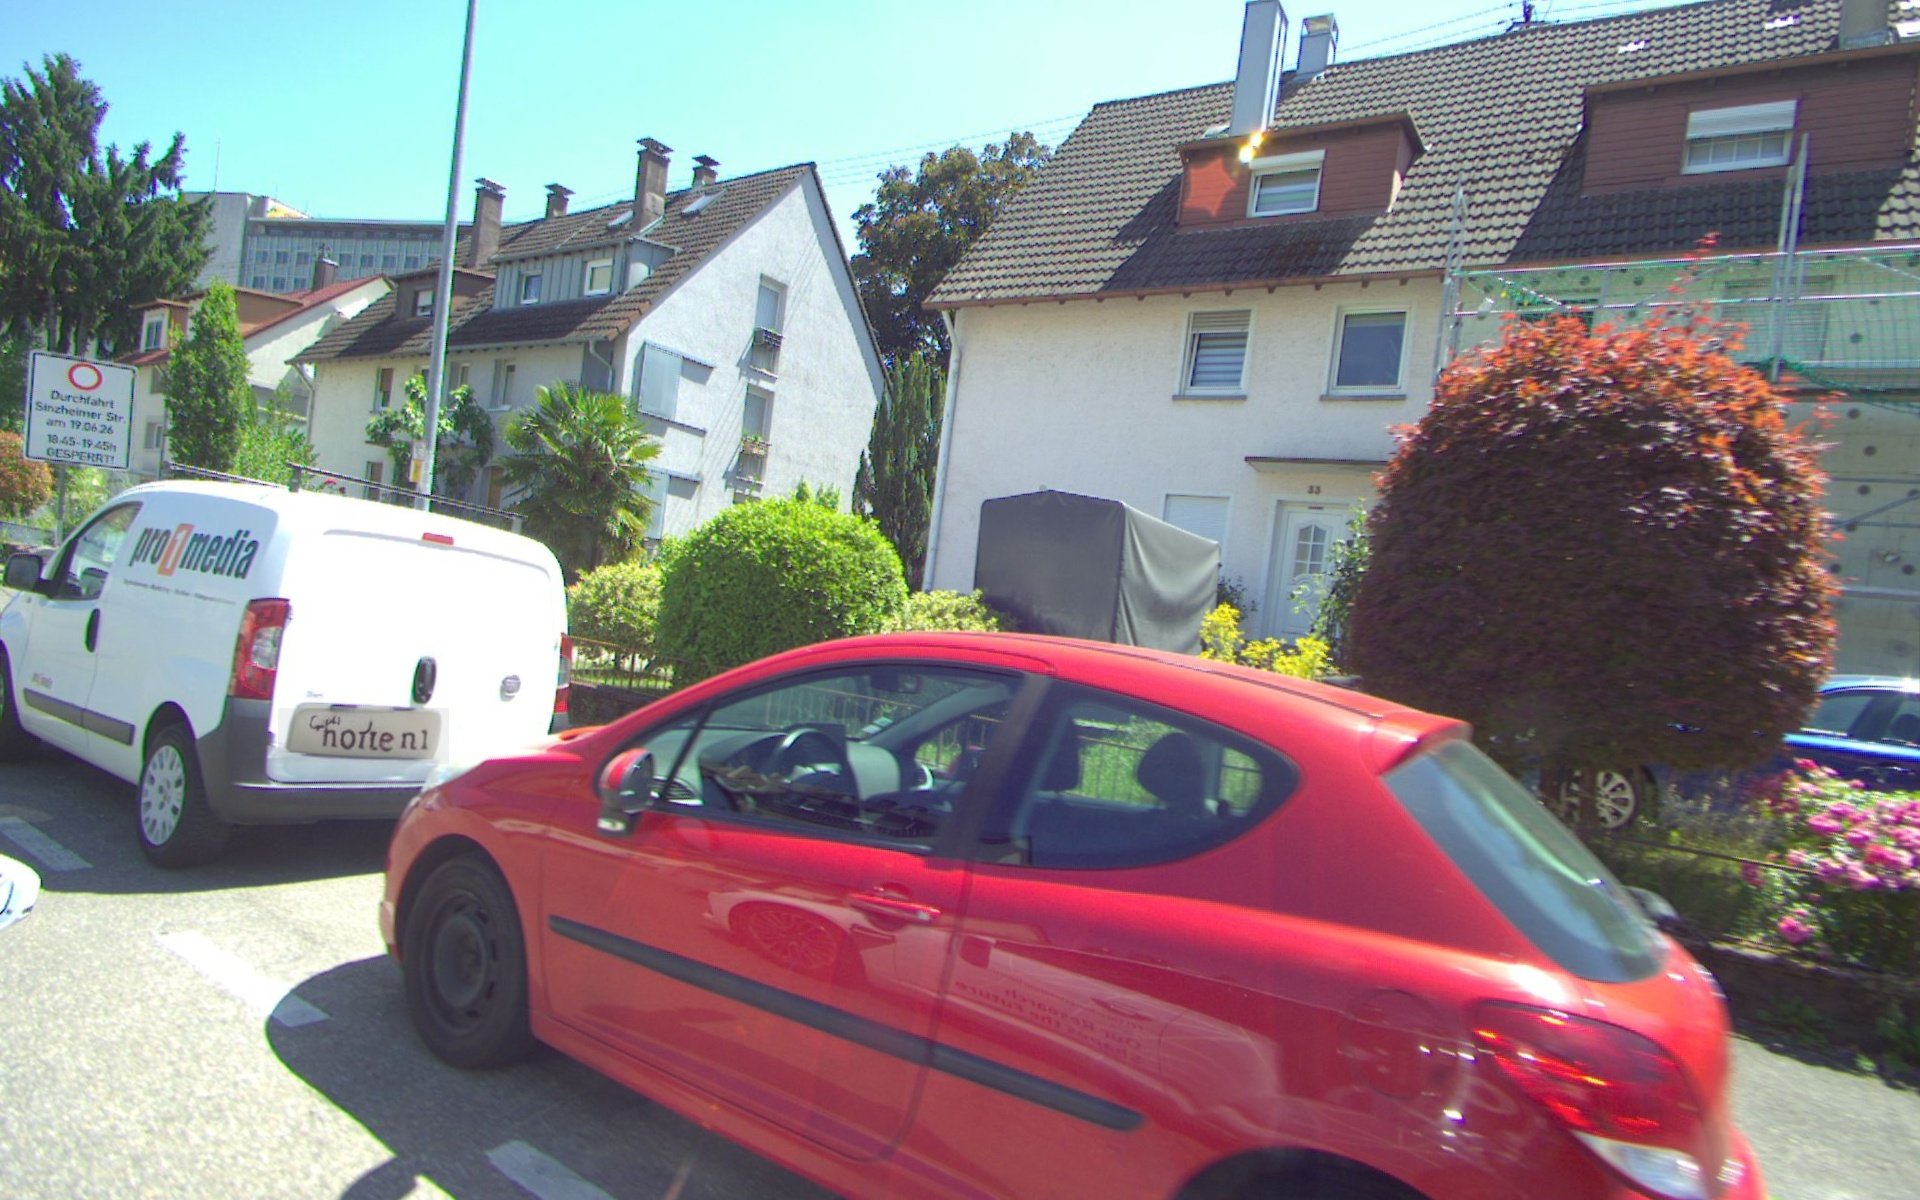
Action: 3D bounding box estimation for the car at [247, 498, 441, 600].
[{"bbox_3d":[-12.837,-1.077,20.913,3.934,1.589,1.796,7,0,33],"label":"car"}]

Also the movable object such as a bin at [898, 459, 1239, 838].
[{"bbox_3d":[1.156,0.439,9.258,1.678,2.779,3.152,7,-1,30],"label":"movable object such as a bin"}]

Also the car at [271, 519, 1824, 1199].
[{"bbox_3d":[-0.173,0.743,3.084,3.934,1.471,1.667,7,-2,33],"label":"car"}]

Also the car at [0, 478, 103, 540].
[{"bbox_3d":[-31.575,-3.161,33.675,1.804,1.630,3.991,8,-1,35],"label":"car"}]

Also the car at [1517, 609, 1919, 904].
[{"bbox_3d":[6.210,1.101,6.955,3.931,1.530,1.796,8,2,29],"label":"car"}]

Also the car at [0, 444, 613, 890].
[{"bbox_3d":[-4.053,0.189,5.768,3.936,1.774,1.667,6,-3,33],"label":"car"}]
